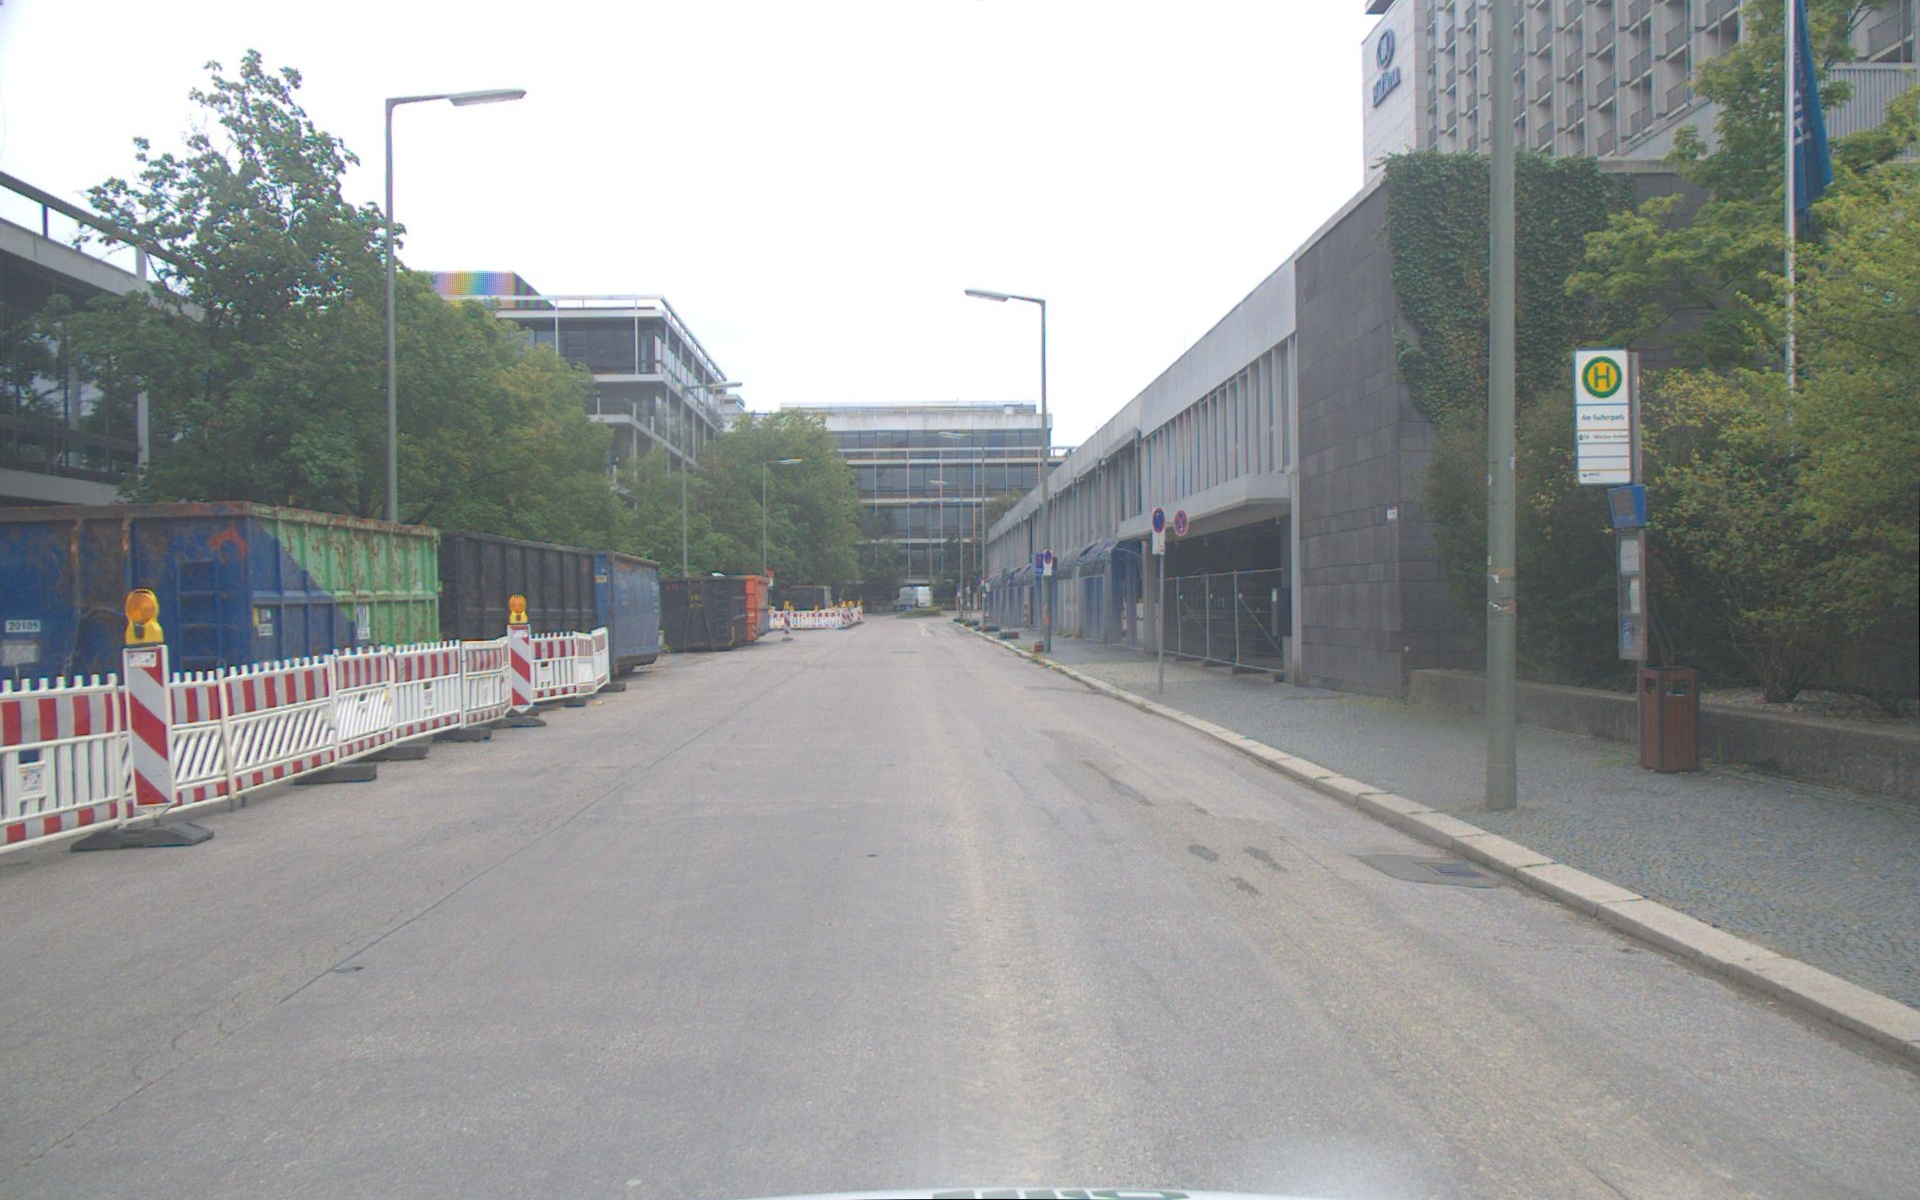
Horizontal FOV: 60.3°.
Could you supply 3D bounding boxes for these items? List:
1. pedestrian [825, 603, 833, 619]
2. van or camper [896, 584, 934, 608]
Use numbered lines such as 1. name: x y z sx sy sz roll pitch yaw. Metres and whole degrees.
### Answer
1. pedestrian: -13.877 1.150 174.982 0.731 1.706 0.678 0 0 -21
2. van or camper: -4.801 -0.432 176.556 2.061 2.535 5.022 0 0 -27
